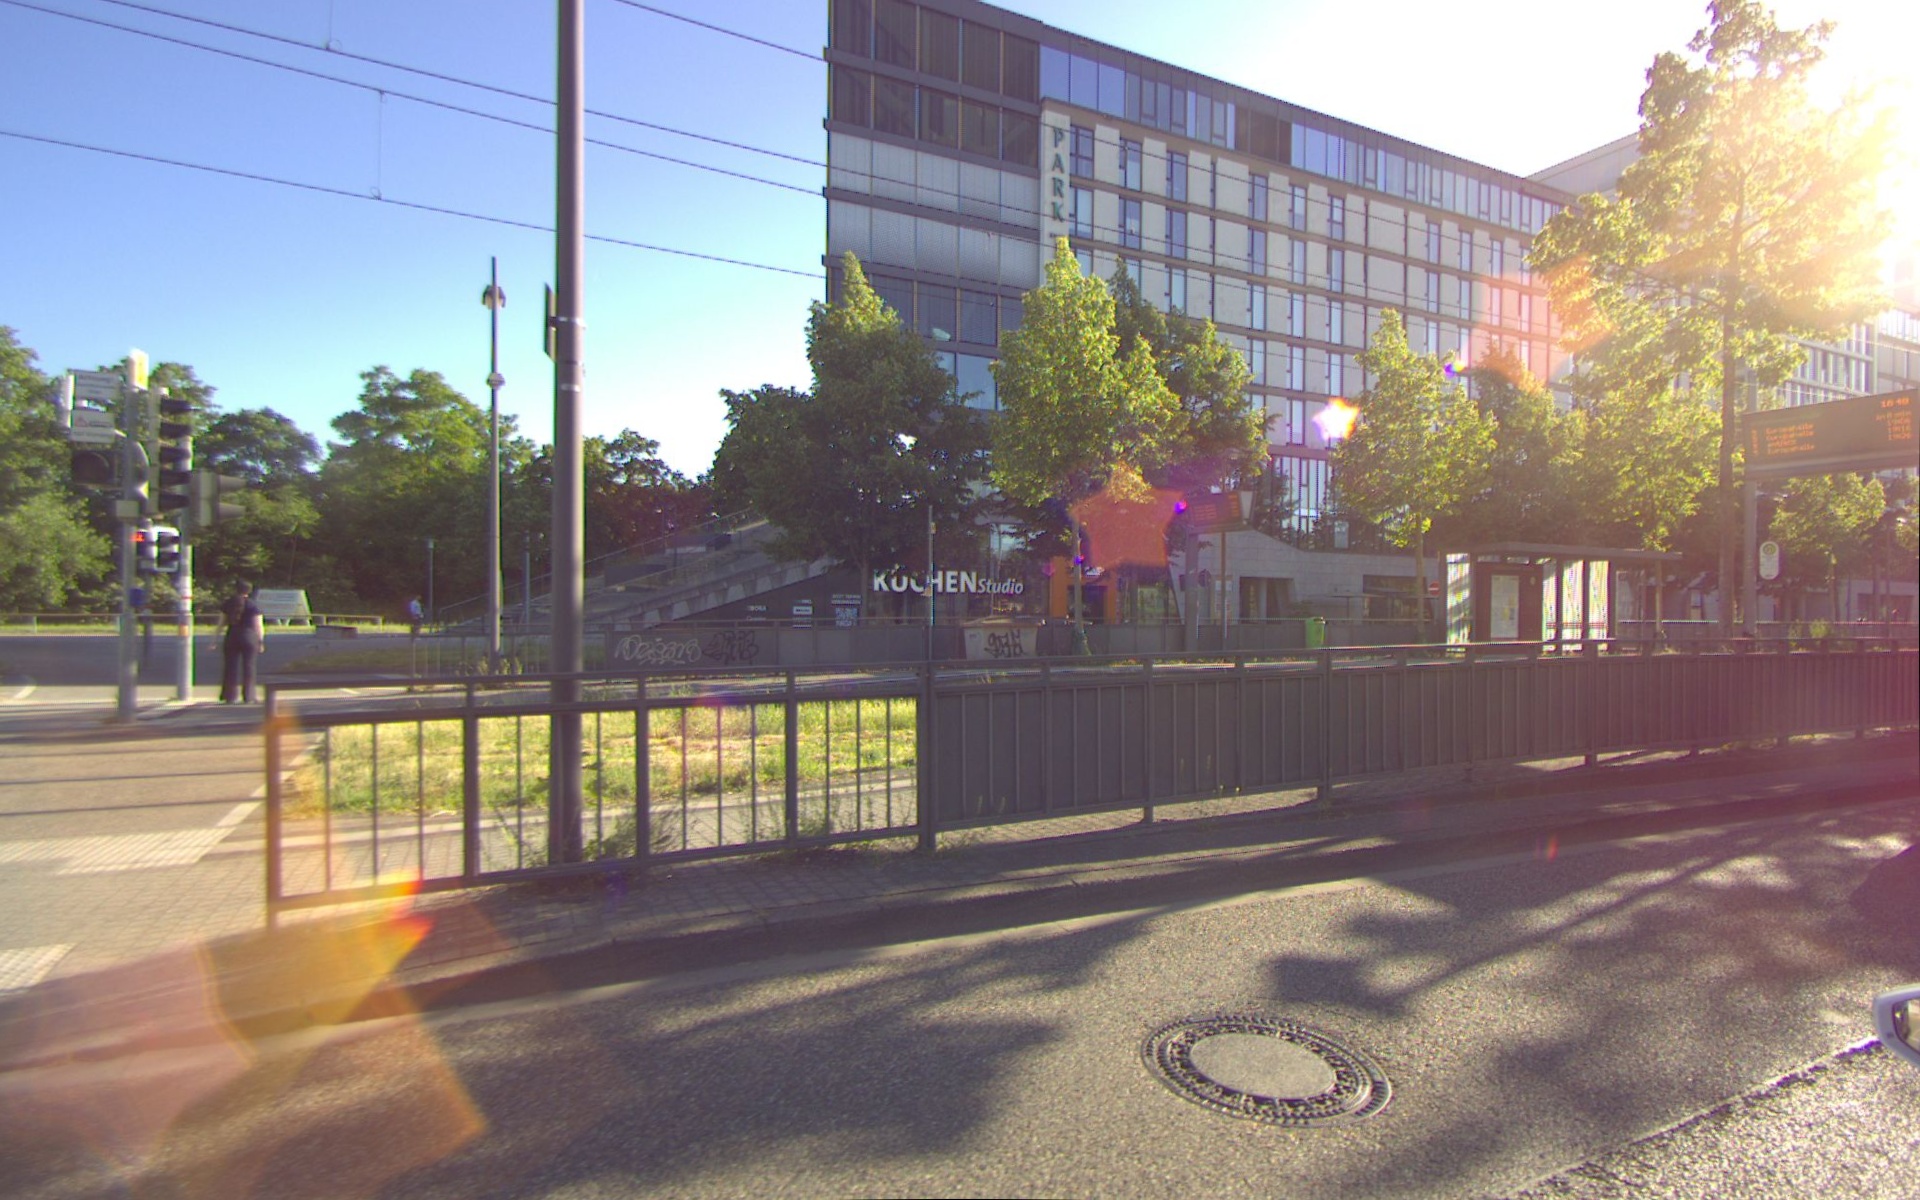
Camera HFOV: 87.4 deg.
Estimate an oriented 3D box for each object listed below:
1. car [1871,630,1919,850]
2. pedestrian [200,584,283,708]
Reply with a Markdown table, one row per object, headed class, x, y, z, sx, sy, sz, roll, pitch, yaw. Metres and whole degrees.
| class | x | y | z | sx | sy | sz | roll | pitch | yaw |
| --- | --- | --- | --- | --- | --- | --- | --- | --- | --- |
| car | 8.182 | 0.967 | 6.694 | 4.091 | 1.384 | 1.715 | 2 | -1 | -26 |
| pedestrian | -9.533 | 0.607 | 13.354 | 0.802 | 1.599 | 0.415 | 2 | 0 | -29 |
